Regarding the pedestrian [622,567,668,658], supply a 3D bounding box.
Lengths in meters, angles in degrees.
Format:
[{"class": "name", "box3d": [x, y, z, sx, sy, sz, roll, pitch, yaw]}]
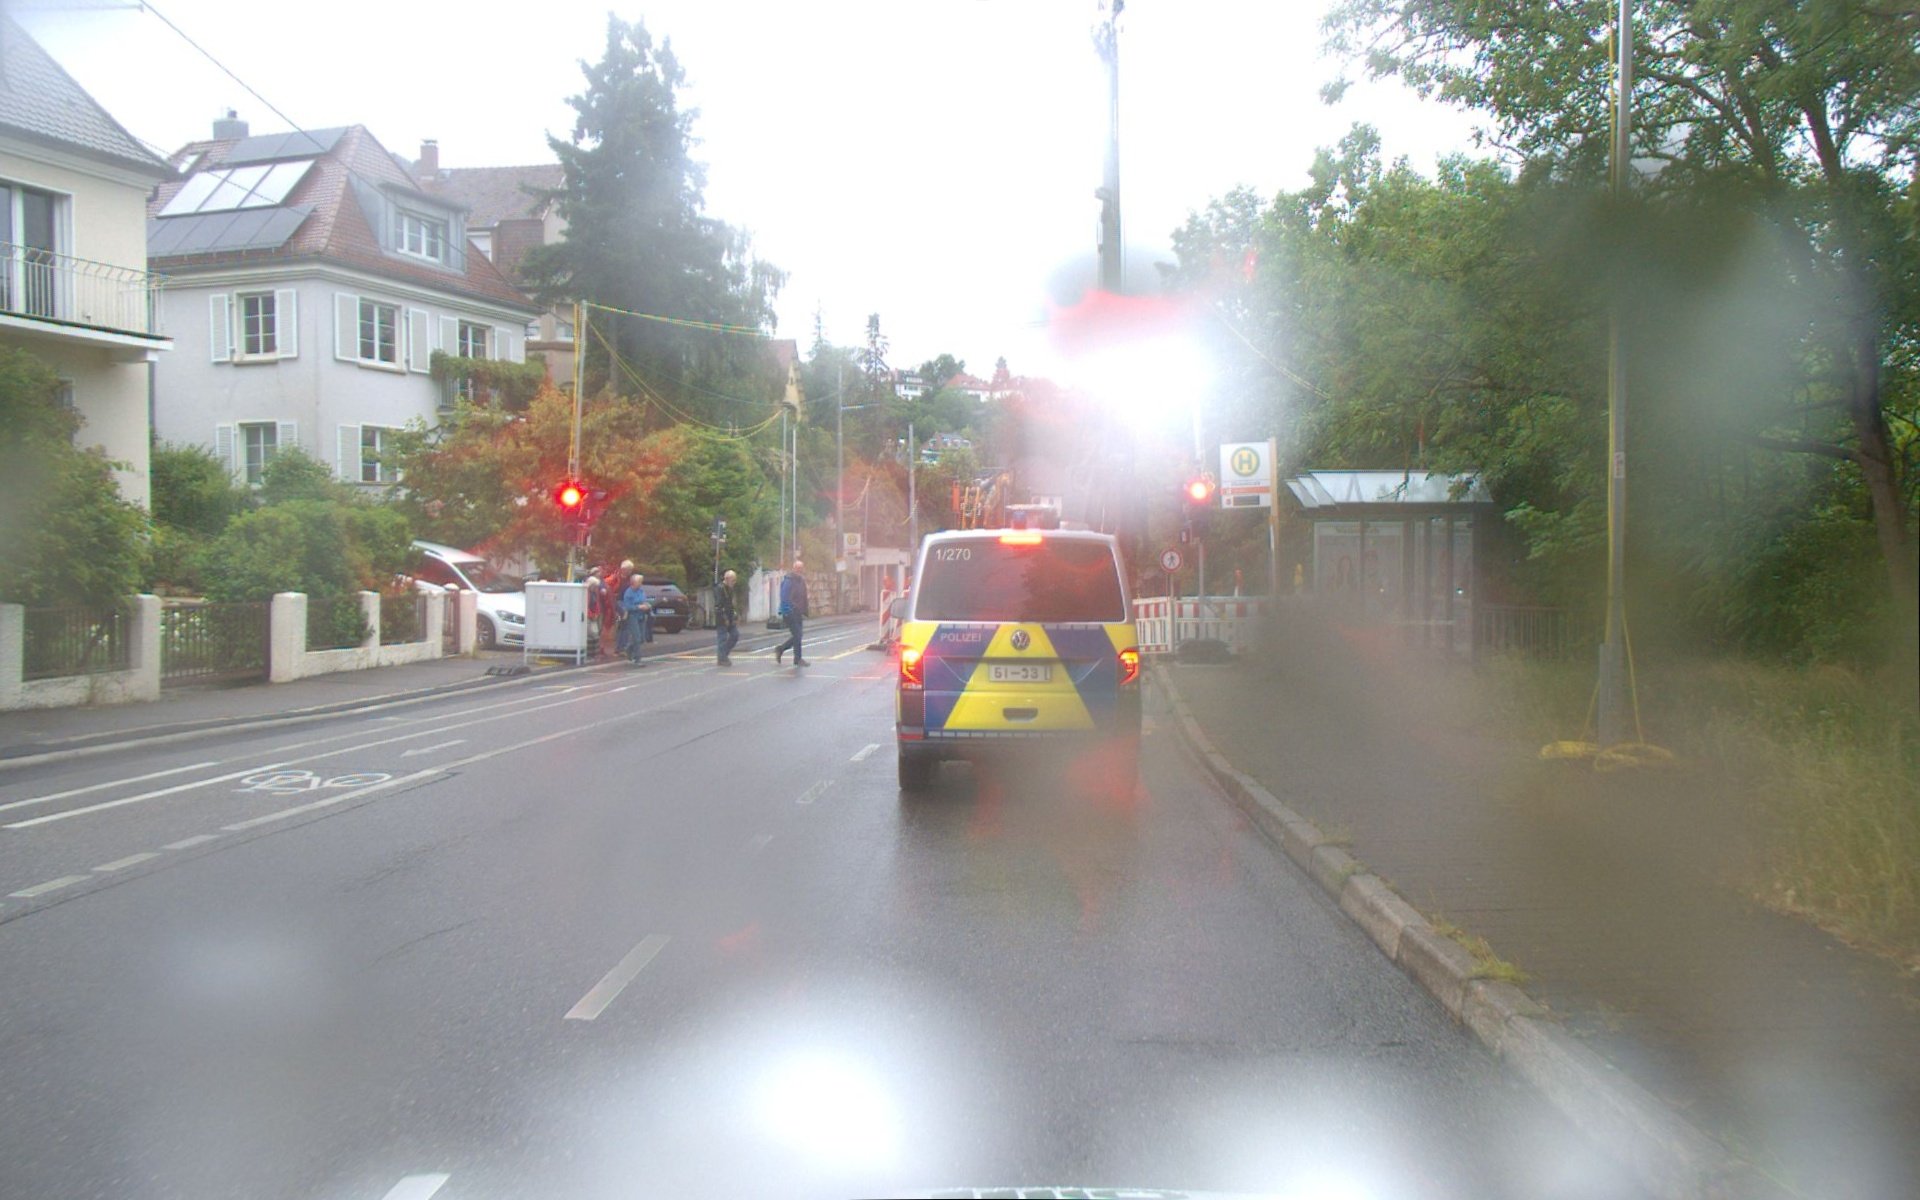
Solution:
[{"class": "pedestrian", "box3d": [-5.507, 0.228, 28.903, 0.613, 1.548, 0.593, 2, -2, 2]}]

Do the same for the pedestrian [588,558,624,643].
[{"class": "pedestrian", "box3d": [-6.487, 0.014, 30.325, 0.514, 1.533, 0.429, 2, -2, 2]}]

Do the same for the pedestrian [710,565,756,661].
[{"class": "pedestrian", "box3d": [-3.935, 0.230, 28.717, 0.672, 1.632, 0.605, 2, -2, -1]}]

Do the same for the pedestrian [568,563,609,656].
[{"class": "pedestrian", "box3d": [-6.539, 0.173, 29.146, 0.551, 1.610, 0.468, 2, -2, 2]}]

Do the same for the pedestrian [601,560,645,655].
[{"class": "pedestrian", "box3d": [-6.321, 0.147, 31.060, 0.613, 1.745, 0.593, 2, -2, 2]}]

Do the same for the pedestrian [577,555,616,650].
[{"class": "pedestrian", "box3d": [-6.544, 0.048, 29.773, 0.537, 1.697, 0.414, 2, -2, 2]}]

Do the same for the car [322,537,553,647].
[{"class": "car", "box3d": [-10.211, -0.167, 32.419, 3.902, 2.049, 1.832, 1, 0, 12]}]

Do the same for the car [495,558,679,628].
[{"class": "car", "box3d": [-8.957, -0.162, 39.855, 3.902, 1.512, 1.761, 2, -2, 11]}]

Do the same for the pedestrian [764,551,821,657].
[{"class": "pedestrian", "box3d": [-2.943, 0.080, 29.112, 0.871, 1.819, 0.828, 2, -2, -1]}]

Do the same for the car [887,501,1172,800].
[{"class": "car", "box3d": [0.534, 0.298, 13.793, 1.952, 2.048, 4.403, 1, 1, 1]}]

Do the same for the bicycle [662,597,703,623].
[{"class": "bicycle", "box3d": [-7.540, 0.265, 44.922, 1.031, 0.674, 0.320, 2, -2, 11]}]

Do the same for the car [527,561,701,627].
[{"class": "car", "box3d": [-8.755, -0.152, 42.002, 3.902, 1.512, 1.761, 2, -2, 11]}]
